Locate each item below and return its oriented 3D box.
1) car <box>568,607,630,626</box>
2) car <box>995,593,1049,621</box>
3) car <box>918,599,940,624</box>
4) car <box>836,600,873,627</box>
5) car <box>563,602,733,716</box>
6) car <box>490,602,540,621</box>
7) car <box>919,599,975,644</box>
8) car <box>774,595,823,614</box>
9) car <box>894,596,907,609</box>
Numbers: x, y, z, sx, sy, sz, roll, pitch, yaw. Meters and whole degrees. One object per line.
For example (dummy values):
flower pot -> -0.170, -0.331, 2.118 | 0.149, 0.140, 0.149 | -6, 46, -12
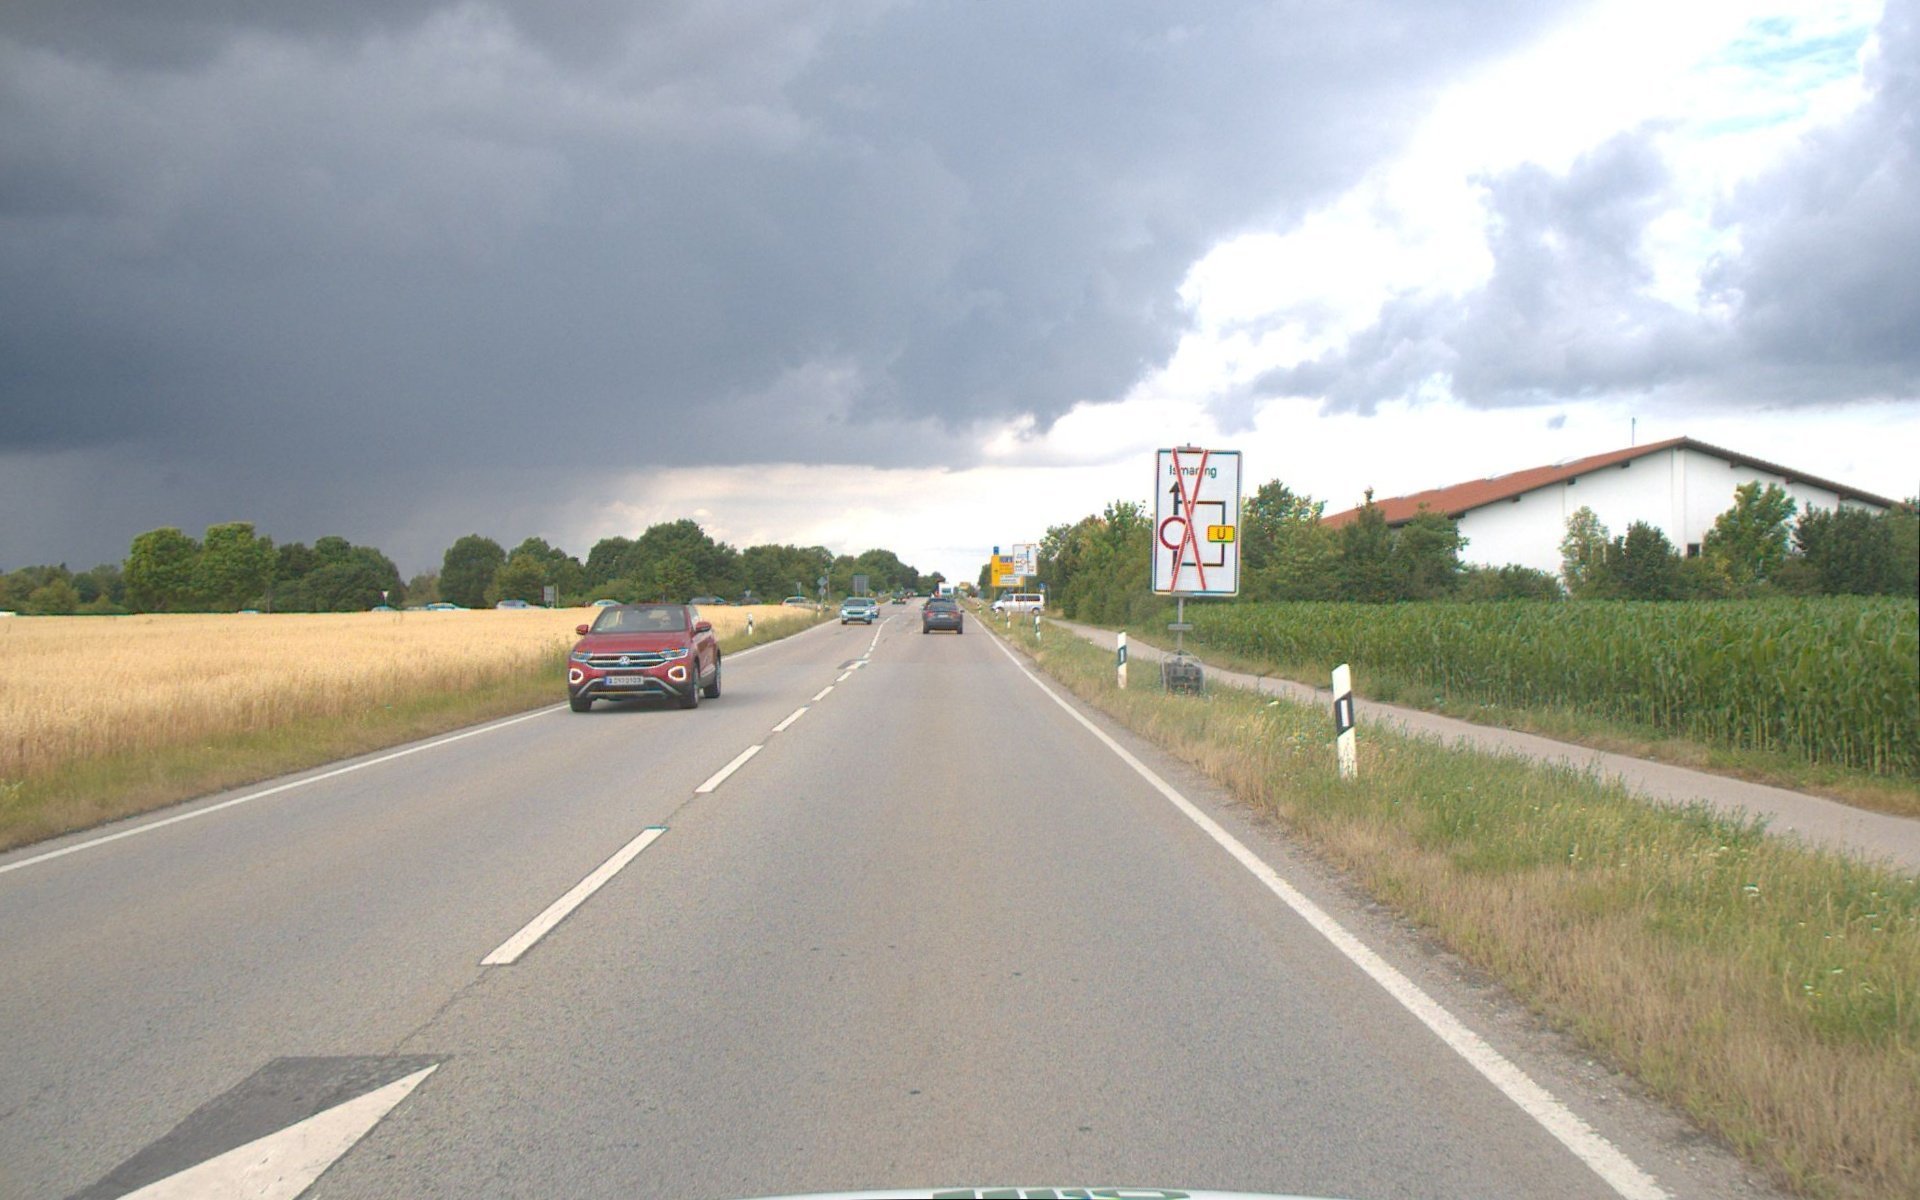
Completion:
car -> -32.625, 1.511, 149.543 | 5.197, 1.678, 1.867 | 0, 0, 3
car -> 5.707, 0.673, 152.480 | 4.740, 2.495, 2.004 | 0, 0, -4
car -> -2.243, 0.814, 119.019 | 1.539, 1.731, 3.999 | 0, 0, -1
car -> -6.518, 0.811, 102.361 | 2.023, 1.608, 4.764 | -2, 0, -1
car -> -4.517, 0.792, 24.583 | 1.677, 1.514, 4.607 | -1, 0, -1
car -> -40.254, 1.013, 149.634 | 3.986, 1.678, 1.867 | 0, 0, 3
car -> -0.640, 0.953, 75.484 | 2.325, 1.913, 4.475 | -2, 0, -3
car -> -14.465, 0.381, 148.220 | 4.327, 1.678, 1.500 | 0, 0, -6
car -> -7.821, 0.337, 217.194 | 1.612, 1.618, 4.000 | 0, 0, 0
